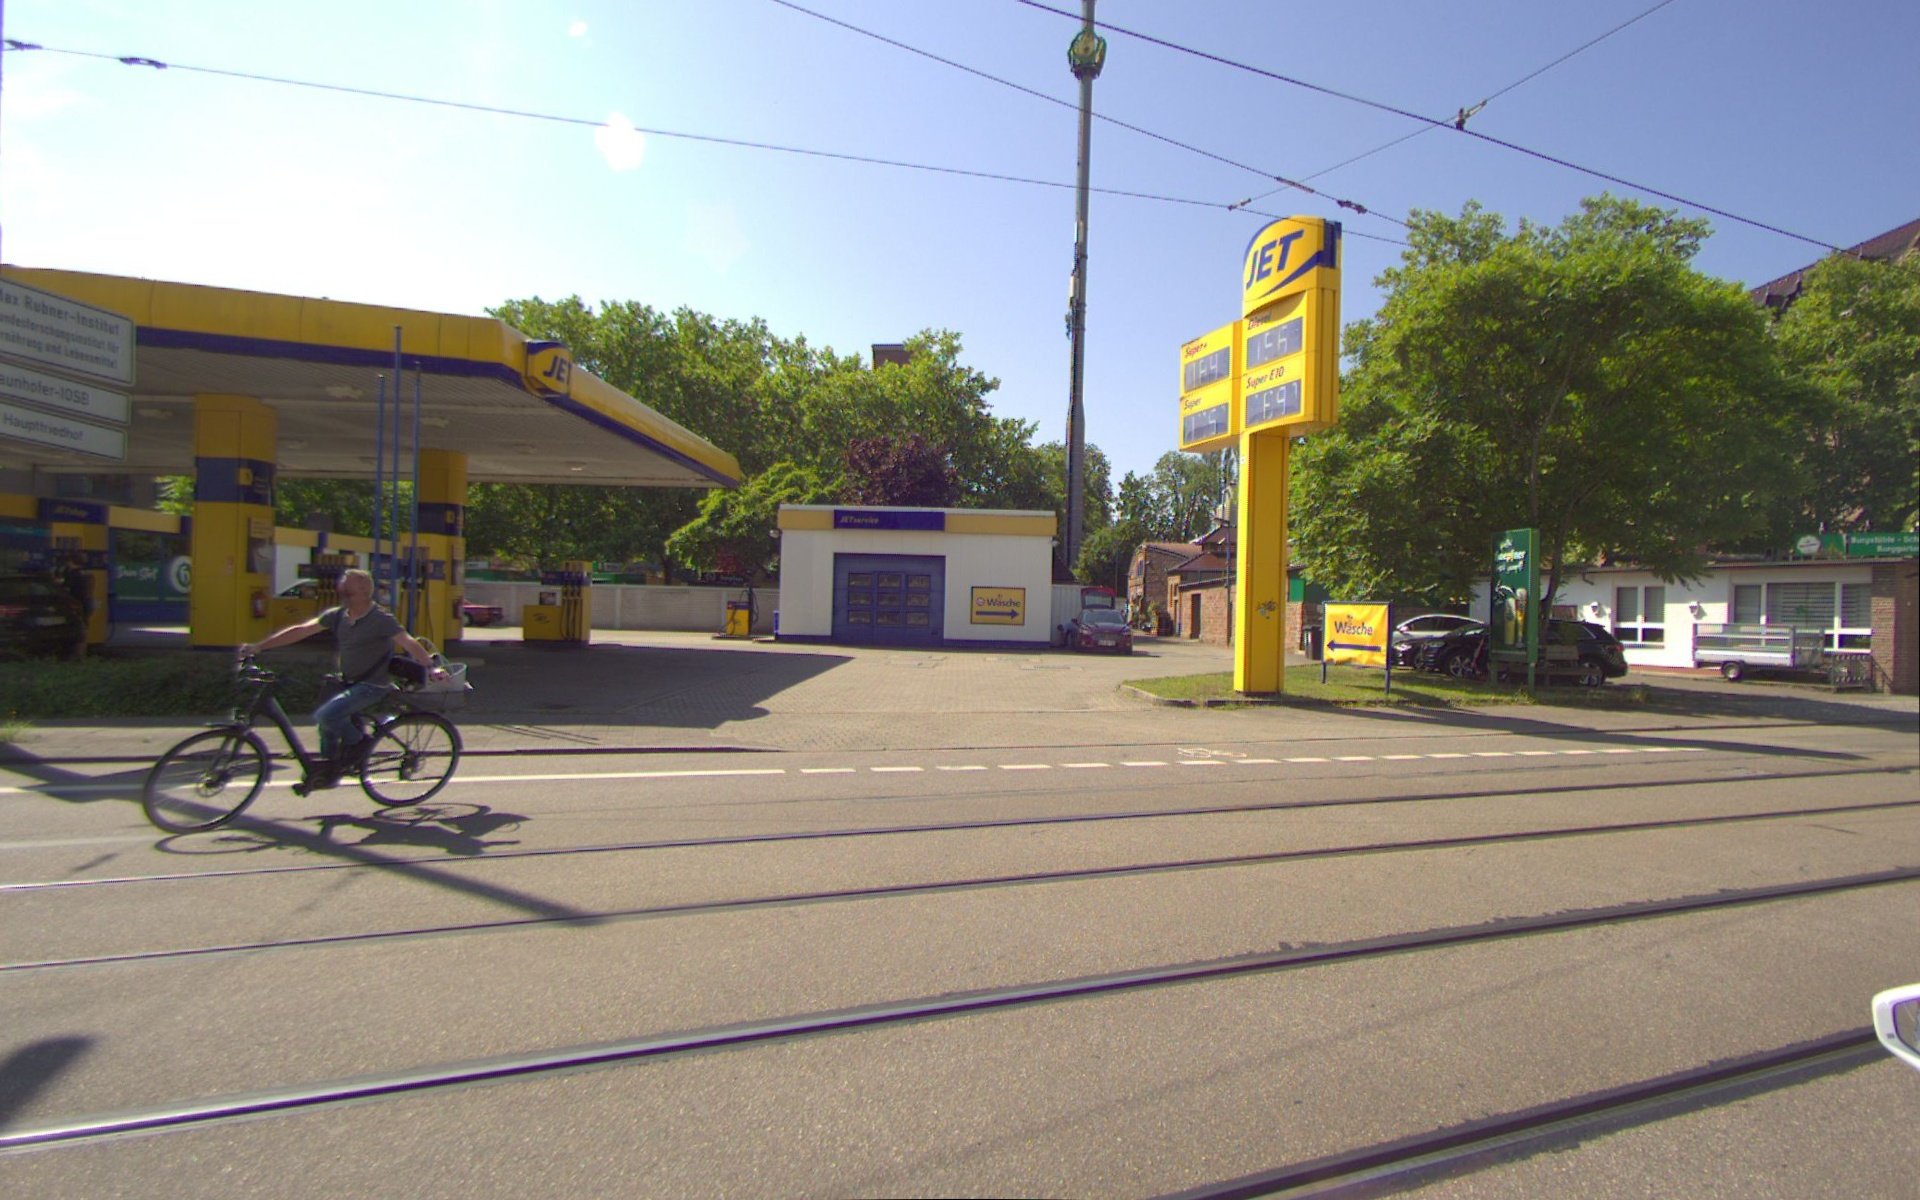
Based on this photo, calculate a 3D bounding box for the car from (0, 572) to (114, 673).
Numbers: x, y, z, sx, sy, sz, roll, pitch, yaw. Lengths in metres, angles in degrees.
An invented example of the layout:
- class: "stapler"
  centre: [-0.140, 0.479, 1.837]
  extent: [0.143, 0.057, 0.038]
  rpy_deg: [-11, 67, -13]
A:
- class: "car"
  centre: [-16.467, 0.307, 16.098]
  extent: [4.322, 1.475, 1.761]
  rpy_deg: [1, 3, 1]

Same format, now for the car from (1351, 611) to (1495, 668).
- class: "car"
  centre: [14.342, 1.197, 31.384]
  extent: [3.922, 1.578, 1.847]
  rpy_deg: [2, 0, 21]

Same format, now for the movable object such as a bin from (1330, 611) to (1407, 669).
- class: "movable object such as a bin"
  centre: [11.219, 1.094, 27.625]
  extent: [1.358, 1.522, 1.416]
  rpy_deg: [2, 0, -20]

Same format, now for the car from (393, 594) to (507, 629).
- class: "car"
  centre: [-22.472, 0.498, 44.353]
  extent: [4.051, 1.378, 1.761]
  rpy_deg: [2, 0, -1]

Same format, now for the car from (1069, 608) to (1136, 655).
- class: "car"
  centre: [4.713, 1.019, 33.770]
  extent: [1.855, 1.480, 4.558]
  rpy_deg: [0, -1, 3]

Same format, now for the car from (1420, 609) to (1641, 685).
- class: "car"
  centre: [14.259, 1.128, 25.456]
  extent: [4.568, 1.662, 2.020]
  rpy_deg: [2, 0, 21]

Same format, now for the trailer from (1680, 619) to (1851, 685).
- class: "trailer"
  centre: [22.173, 1.390, 27.779]
  extent: [1.698, 1.624, 3.268]
  rpy_deg: [2, 0, -21]

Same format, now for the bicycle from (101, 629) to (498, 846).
- class: "bicycle"
  centre: [-4.293, 0.814, 6.701]
  extent: [0.603, 1.213, 2.112]
  rpy_deg: [1, -1, 42]

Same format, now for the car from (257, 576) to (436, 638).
- class: "car"
  centre: [-21.828, 0.251, 35.874]
  extent: [5.204, 2.009, 1.761]
  rpy_deg: [2, 0, -2]

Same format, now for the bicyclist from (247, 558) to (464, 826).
- class: "bicyclist"
  centre: [-4.025, 0.564, 6.705]
  extent: [0.892, 1.616, 0.960]
  rpy_deg: [1, -1, 40]

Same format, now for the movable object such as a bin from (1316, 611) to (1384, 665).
- class: "movable object such as a bin"
  centre: [11.486, 1.101, 29.619]
  extent: [1.354, 1.522, 1.420]
  rpy_deg: [2, 0, -7]

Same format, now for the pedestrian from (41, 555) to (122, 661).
- class: "pedestrian"
  centre: [-15.048, 0.136, 17.235]
  extent: [0.734, 1.748, 0.855]
  rpy_deg: [2, 0, -20]

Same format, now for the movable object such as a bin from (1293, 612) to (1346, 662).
- class: "movable object such as a bin"
  centre: [11.274, 1.168, 31.553]
  extent: [1.304, 1.522, 1.331]
  rpy_deg: [1, -2, 6]
